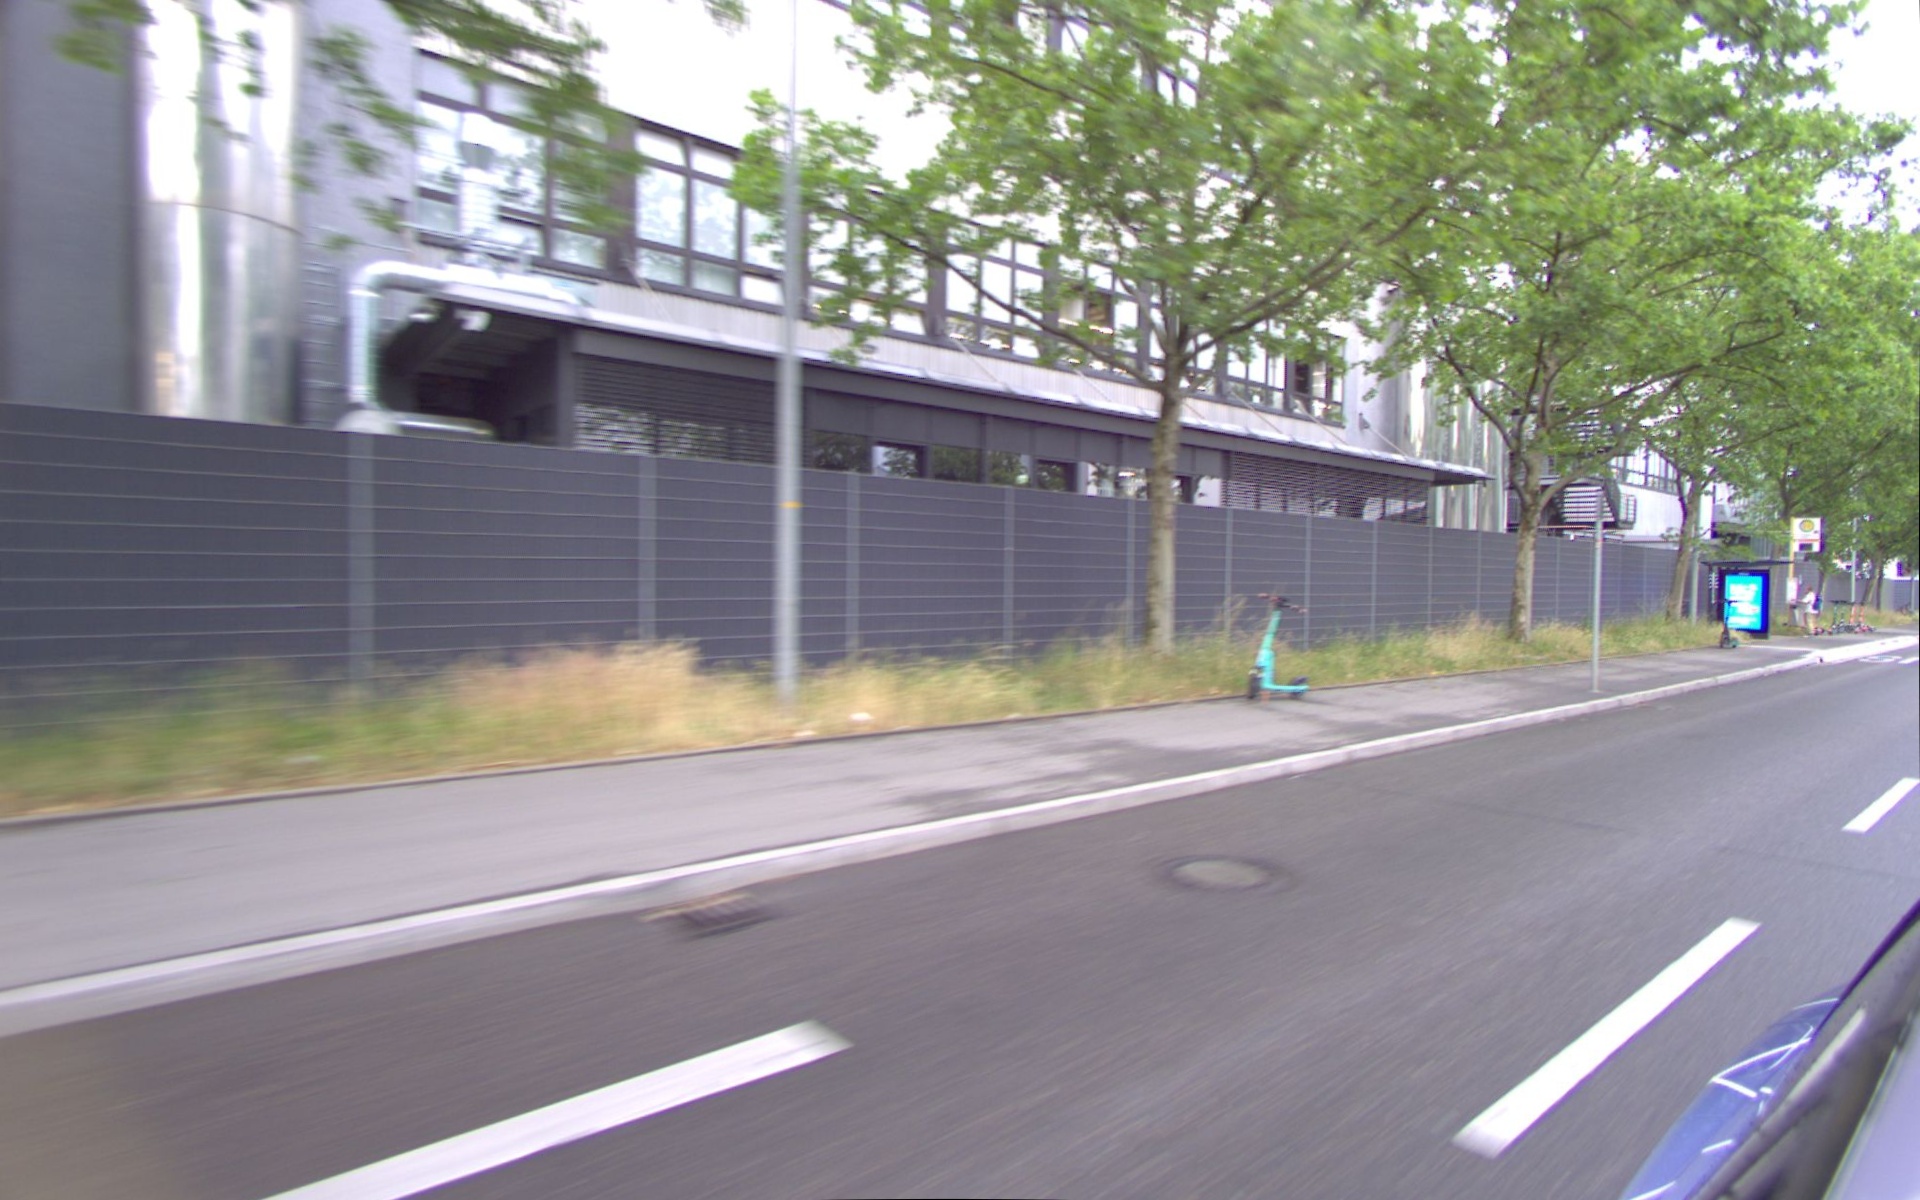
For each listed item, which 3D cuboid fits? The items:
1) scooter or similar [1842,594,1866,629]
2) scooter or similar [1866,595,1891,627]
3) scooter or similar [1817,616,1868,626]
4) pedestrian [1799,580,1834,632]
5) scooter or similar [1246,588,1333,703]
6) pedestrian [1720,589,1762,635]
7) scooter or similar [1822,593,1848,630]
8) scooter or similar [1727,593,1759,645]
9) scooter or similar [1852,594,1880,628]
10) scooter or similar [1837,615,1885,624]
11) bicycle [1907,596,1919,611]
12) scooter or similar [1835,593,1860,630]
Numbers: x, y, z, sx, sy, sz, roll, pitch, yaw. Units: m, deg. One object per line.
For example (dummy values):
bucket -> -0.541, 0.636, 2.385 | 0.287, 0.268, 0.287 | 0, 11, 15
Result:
scooter or similar -> 33.857, 0.418, 38.313 | 1.277, 1.311, 0.437 | 0, 1, -38
scooter or similar -> 38.014, 0.458, 41.887 | 1.275, 1.301, 0.437 | 0, 1, -34
scooter or similar -> 36.422, 0.860, 41.761 | 1.231, 0.349, 1.104 | 0, 2, -17
pedestrian -> 29.241, 0.183, 34.554 | 0.717, 1.731, 0.777 | 0, 1, -41
scooter or similar -> 3.870, 0.511, 11.865 | 1.087, 1.285, 0.330 | 0, 1, -32
pedestrian -> 25.527, 0.377, 33.078 | 0.686, 1.433, 0.932 | 0, 1, -41
scooter or similar -> 31.142, 0.397, 36.032 | 1.277, 1.311, 0.437 | 0, 1, -38
scooter or similar -> 20.322, 0.489, 26.261 | 1.222, 1.325, 0.329 | 0, 1, -37
scooter or similar -> 35.332, 0.415, 39.464 | 1.340, 1.311, 0.437 | 0, 1, -34
scooter or similar -> 38.559, 0.834, 43.349 | 1.168, 0.314, 1.194 | 2, 2, 21
bicycle -> 58.302, 0.222, 61.666 | 1.872, 0.886, 0.726 | -1, 1, -42
scooter or similar -> 32.300, 0.425, 36.820 | 1.277, 1.311, 0.437 | 0, 1, -38
